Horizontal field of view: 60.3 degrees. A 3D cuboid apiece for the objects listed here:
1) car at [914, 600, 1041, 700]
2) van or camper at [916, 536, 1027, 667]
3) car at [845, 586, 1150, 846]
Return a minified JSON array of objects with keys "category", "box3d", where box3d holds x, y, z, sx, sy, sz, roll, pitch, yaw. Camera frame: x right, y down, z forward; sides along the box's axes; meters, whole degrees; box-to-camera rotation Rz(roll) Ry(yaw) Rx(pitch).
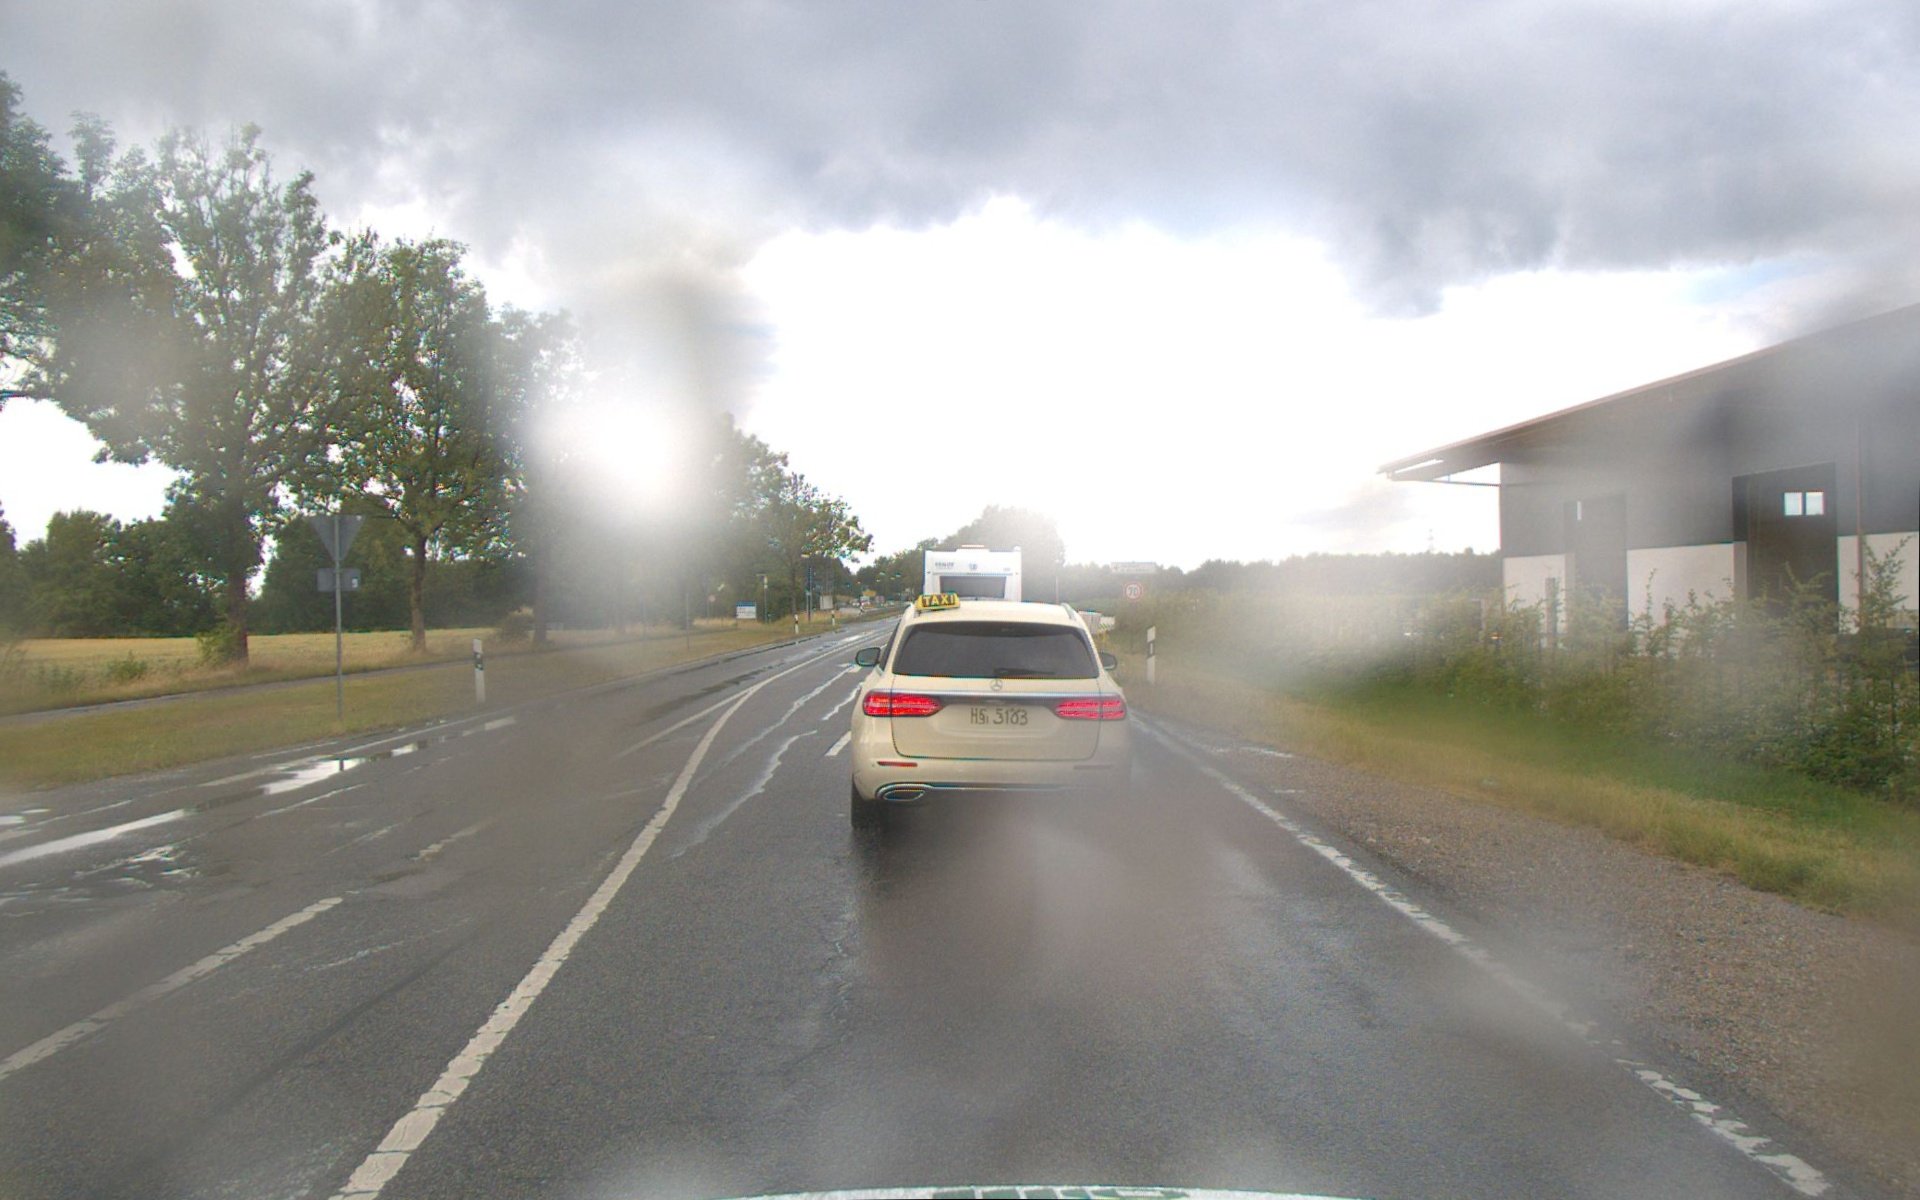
[{"category":"car","box3d":[0.239,0.733,26.255,1.856,1.454,3.927,0,0,-1]},{"category":"van or camper","box3d":[0.294,0.034,40.427,2.445,2.880,5.934,-2,0,1]},{"category":"car","box3d":[0.223,0.672,11.643,1.760,1.490,4.030,1,0,0]}]
